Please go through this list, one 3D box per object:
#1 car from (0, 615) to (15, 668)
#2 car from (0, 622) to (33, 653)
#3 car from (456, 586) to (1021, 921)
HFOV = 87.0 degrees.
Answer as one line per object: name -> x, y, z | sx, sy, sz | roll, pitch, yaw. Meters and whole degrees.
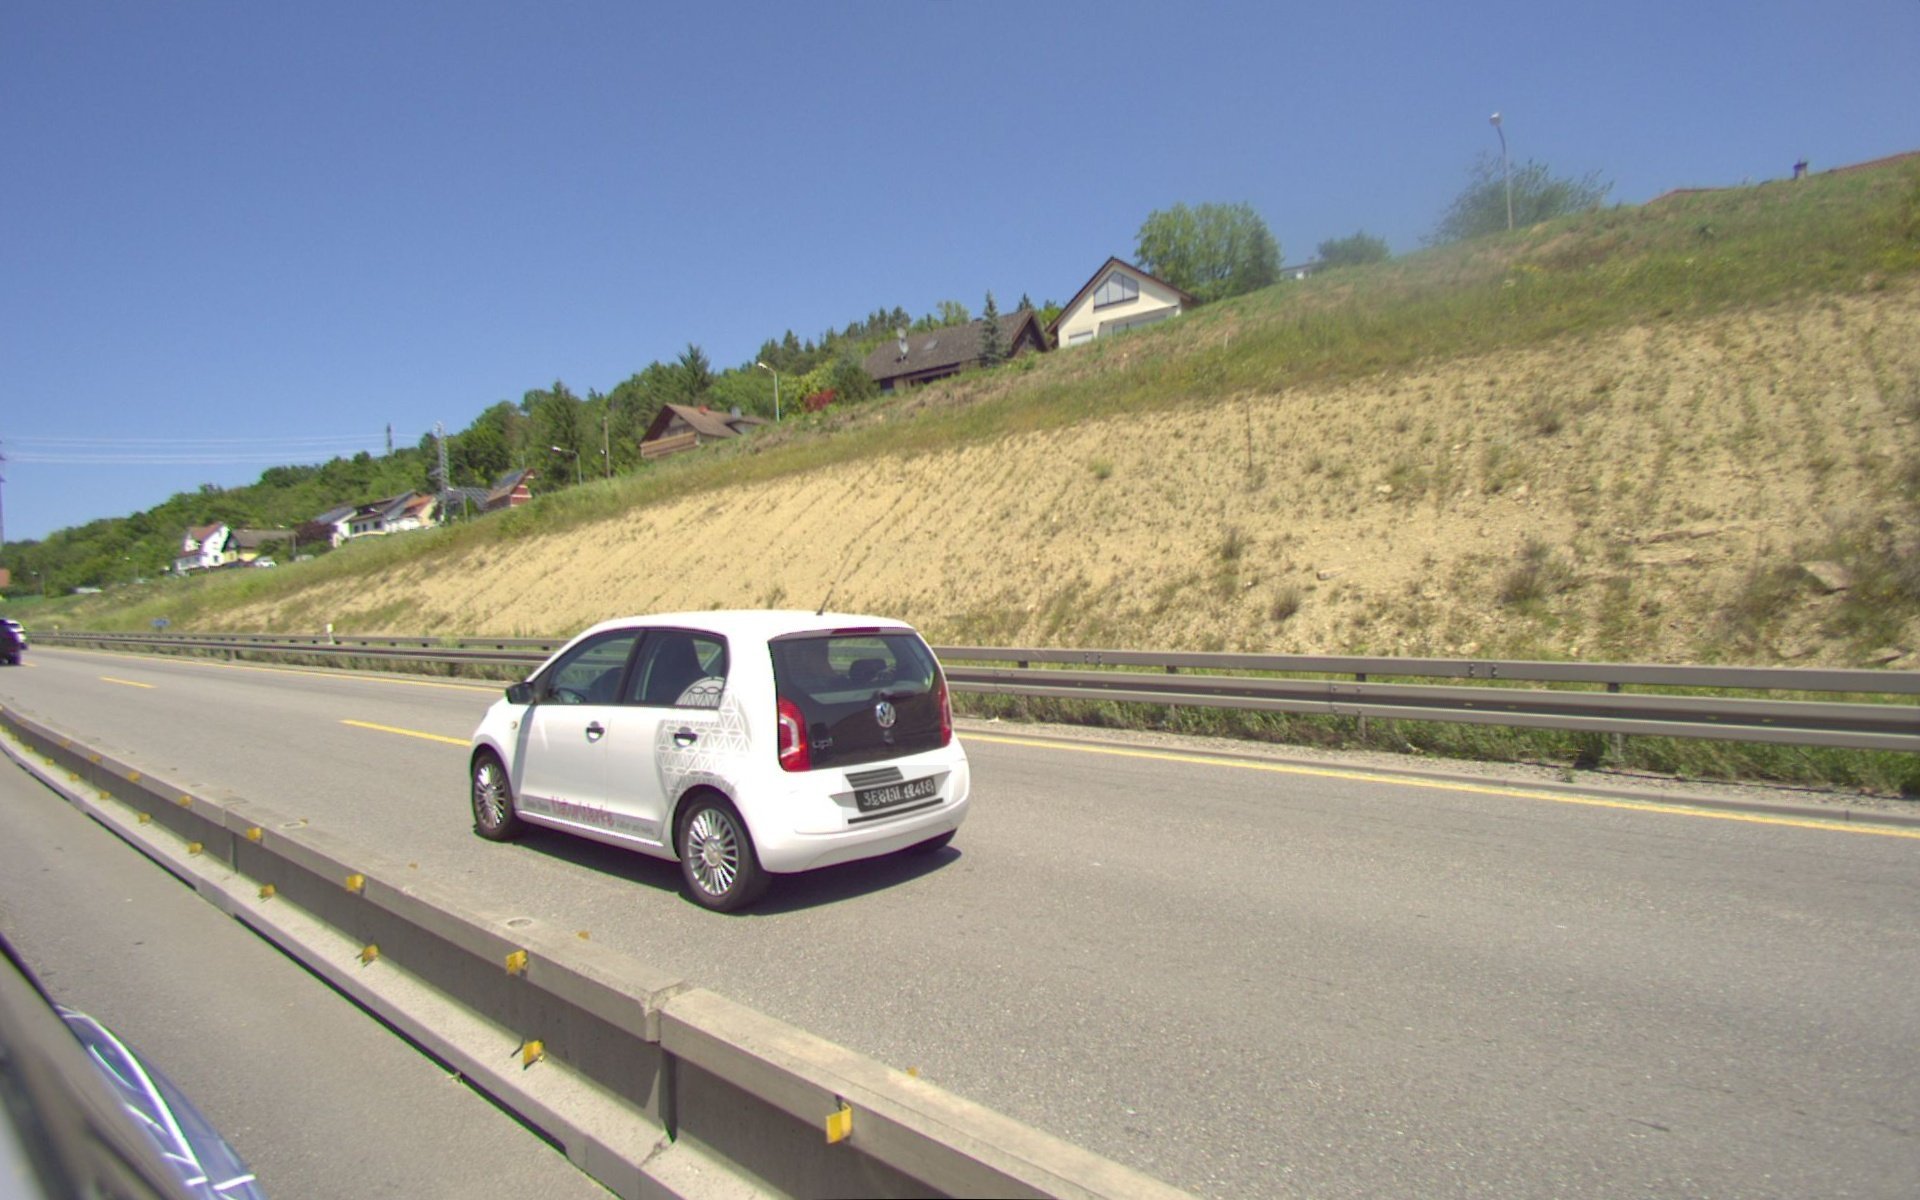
car -> -33.334, 1.396, 34.036 | 4.560, 1.721, 1.871 | -1, -1, 42
car -> -51.589, 2.025, 54.562 | 4.511, 1.596, 1.880 | -2, 0, 41
car -> -1.450, 0.686, 6.077 | 3.290, 1.441, 1.667 | -1, -1, 40
